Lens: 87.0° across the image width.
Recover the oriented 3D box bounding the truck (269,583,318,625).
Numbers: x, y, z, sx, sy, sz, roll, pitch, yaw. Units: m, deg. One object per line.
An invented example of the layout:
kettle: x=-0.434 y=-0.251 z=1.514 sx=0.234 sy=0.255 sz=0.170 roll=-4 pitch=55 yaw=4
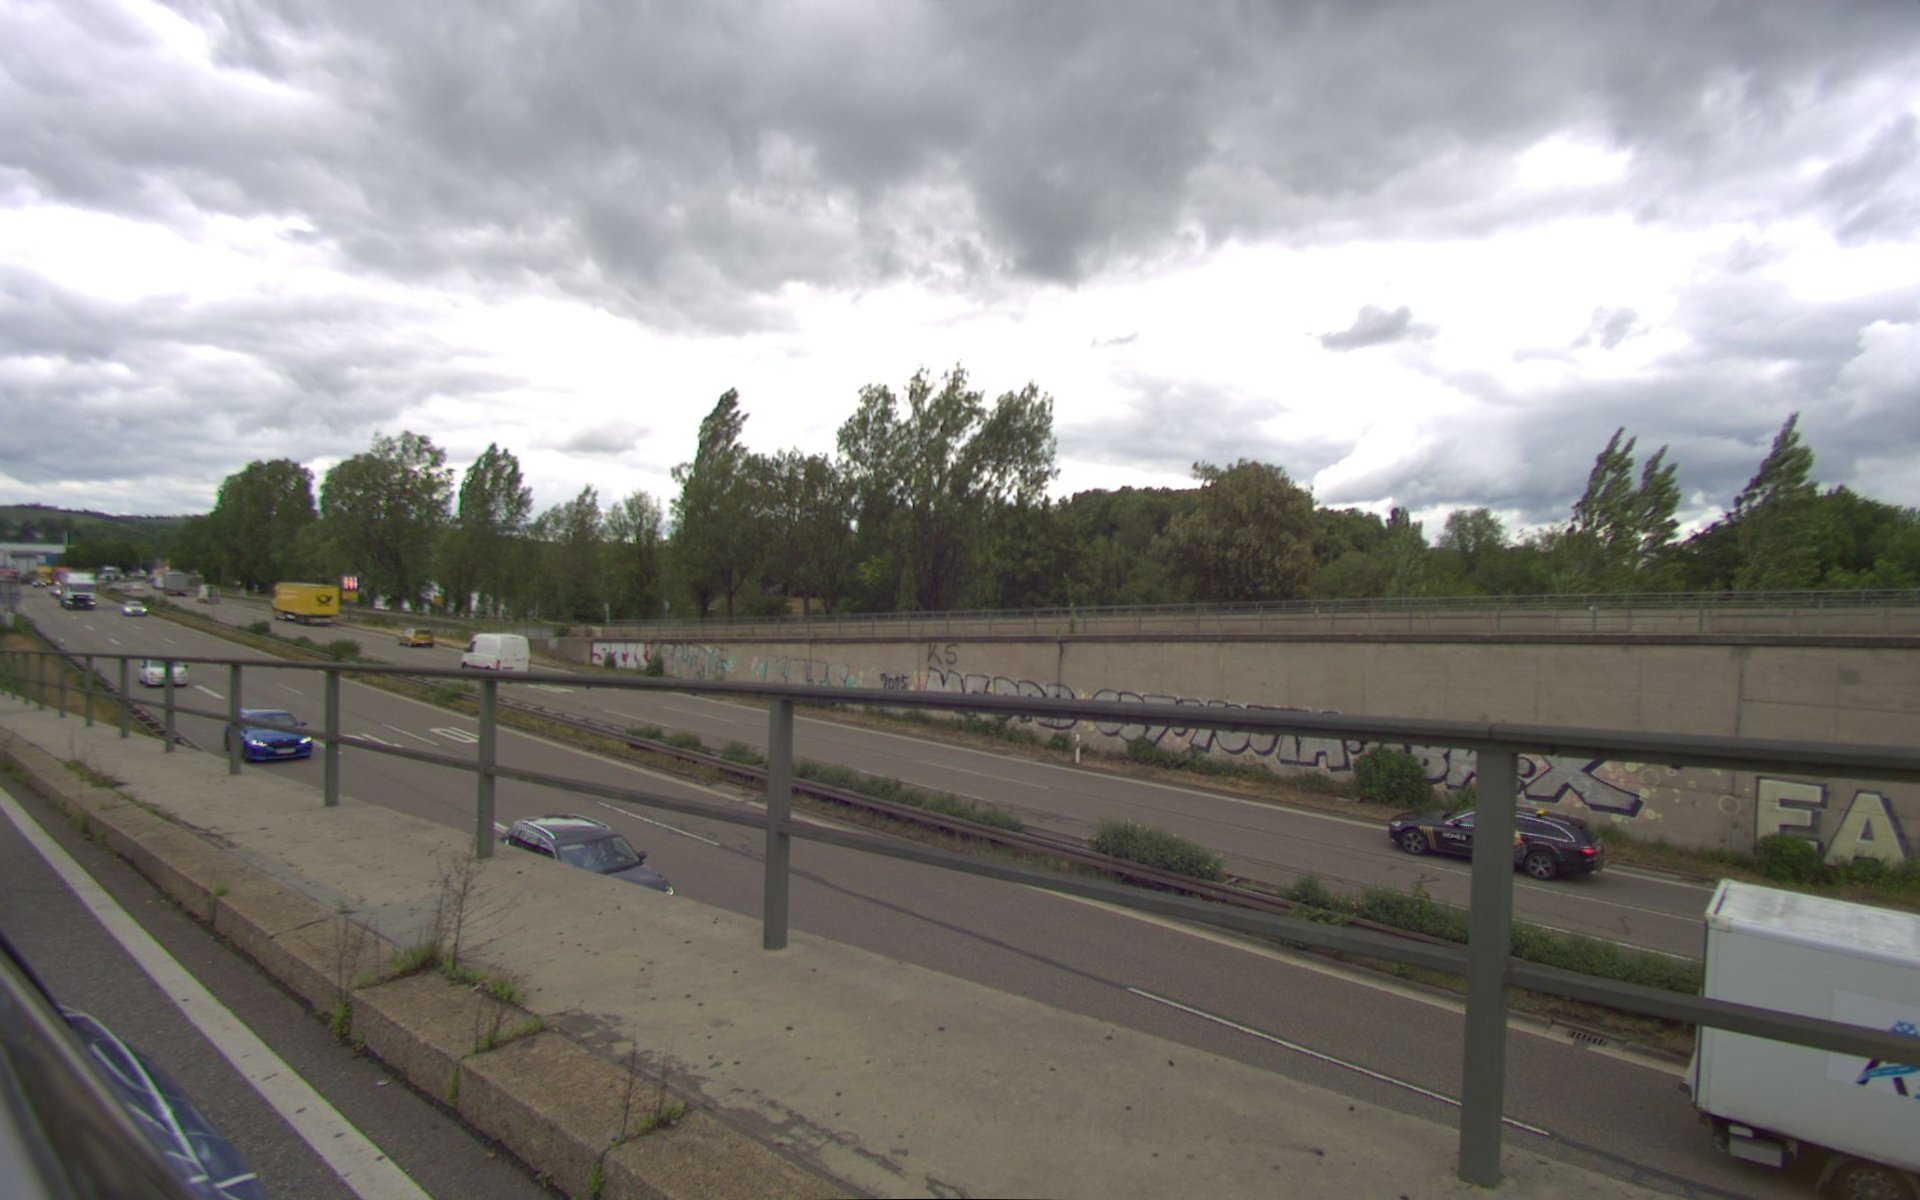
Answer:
truck: x=-71.793 y=0.416 z=108.958 sx=3.203 sy=4.213 sz=5.808 roll=2 pitch=0 yaw=-45

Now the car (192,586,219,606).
car: x=-111.801 y=-0.576 z=150.002 sx=6.715 sy=2.648 sz=1.972 roll=2 pitch=-1 yaw=43

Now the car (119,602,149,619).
car: x=-87.428 y=1.066 z=107.105 sx=4.439 sy=1.582 sz=1.830 roll=3 pitch=2 yaw=43

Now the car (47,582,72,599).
car: x=-131.192 y=-1.387 z=147.440 sx=6.502 sy=2.259 sz=2.076 roll=3 pitch=0 yaw=43

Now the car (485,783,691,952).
car: x=-7.018 y=4.820 z=18.903 sx=4.001 sy=2.029 sz=1.971 roll=2 pitch=-1 yaw=43

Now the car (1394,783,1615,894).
car: x=13.713 y=5.921 z=25.654 sx=4.632 sy=1.664 sz=1.840 roll=2 pitch=0 yaw=41

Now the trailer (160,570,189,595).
trailer: x=-143.162 y=-3.234 z=184.378 sx=2.754 sy=4.170 sz=13.778 roll=1 pitch=1 yaw=-43

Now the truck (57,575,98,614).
truck: x=-100.372 y=-0.639 z=115.103 sx=5.877 sy=4.140 sz=2.969 roll=2 pitch=0 yaw=44

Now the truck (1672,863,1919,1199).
truck: x=11.680 y=5.066 z=10.107 sx=7.229 sy=3.031 sz=2.210 roll=2 pitch=1 yaw=41

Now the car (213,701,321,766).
car: x=-23.020 y=4.360 z=33.579 sx=3.999 sy=1.544 sz=1.973 roll=2 pitch=-1 yaw=41

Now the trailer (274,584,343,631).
trailer: x=-67.231 y=0.669 z=104.211 sx=3.203 sy=4.294 sz=13.691 roll=2 pitch=0 yaw=-44

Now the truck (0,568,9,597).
truck: x=-141.922 y=-2.641 z=148.550 sx=3.059 sy=4.040 sz=8.497 roll=1 pitch=2 yaw=-45

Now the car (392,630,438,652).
car: x=-43.297 y=3.238 z=80.353 sx=4.152 sy=1.468 sz=1.848 roll=2 pitch=0 yaw=41

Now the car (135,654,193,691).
car: x=-39.745 y=3.603 z=50.508 sx=3.337 sy=1.539 sz=1.745 roll=2 pitch=0 yaw=43

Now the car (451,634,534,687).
car: x=-27.866 y=3.522 z=60.226 sx=6.101 sy=2.613 sz=2.144 roll=2 pitch=0 yaw=42
